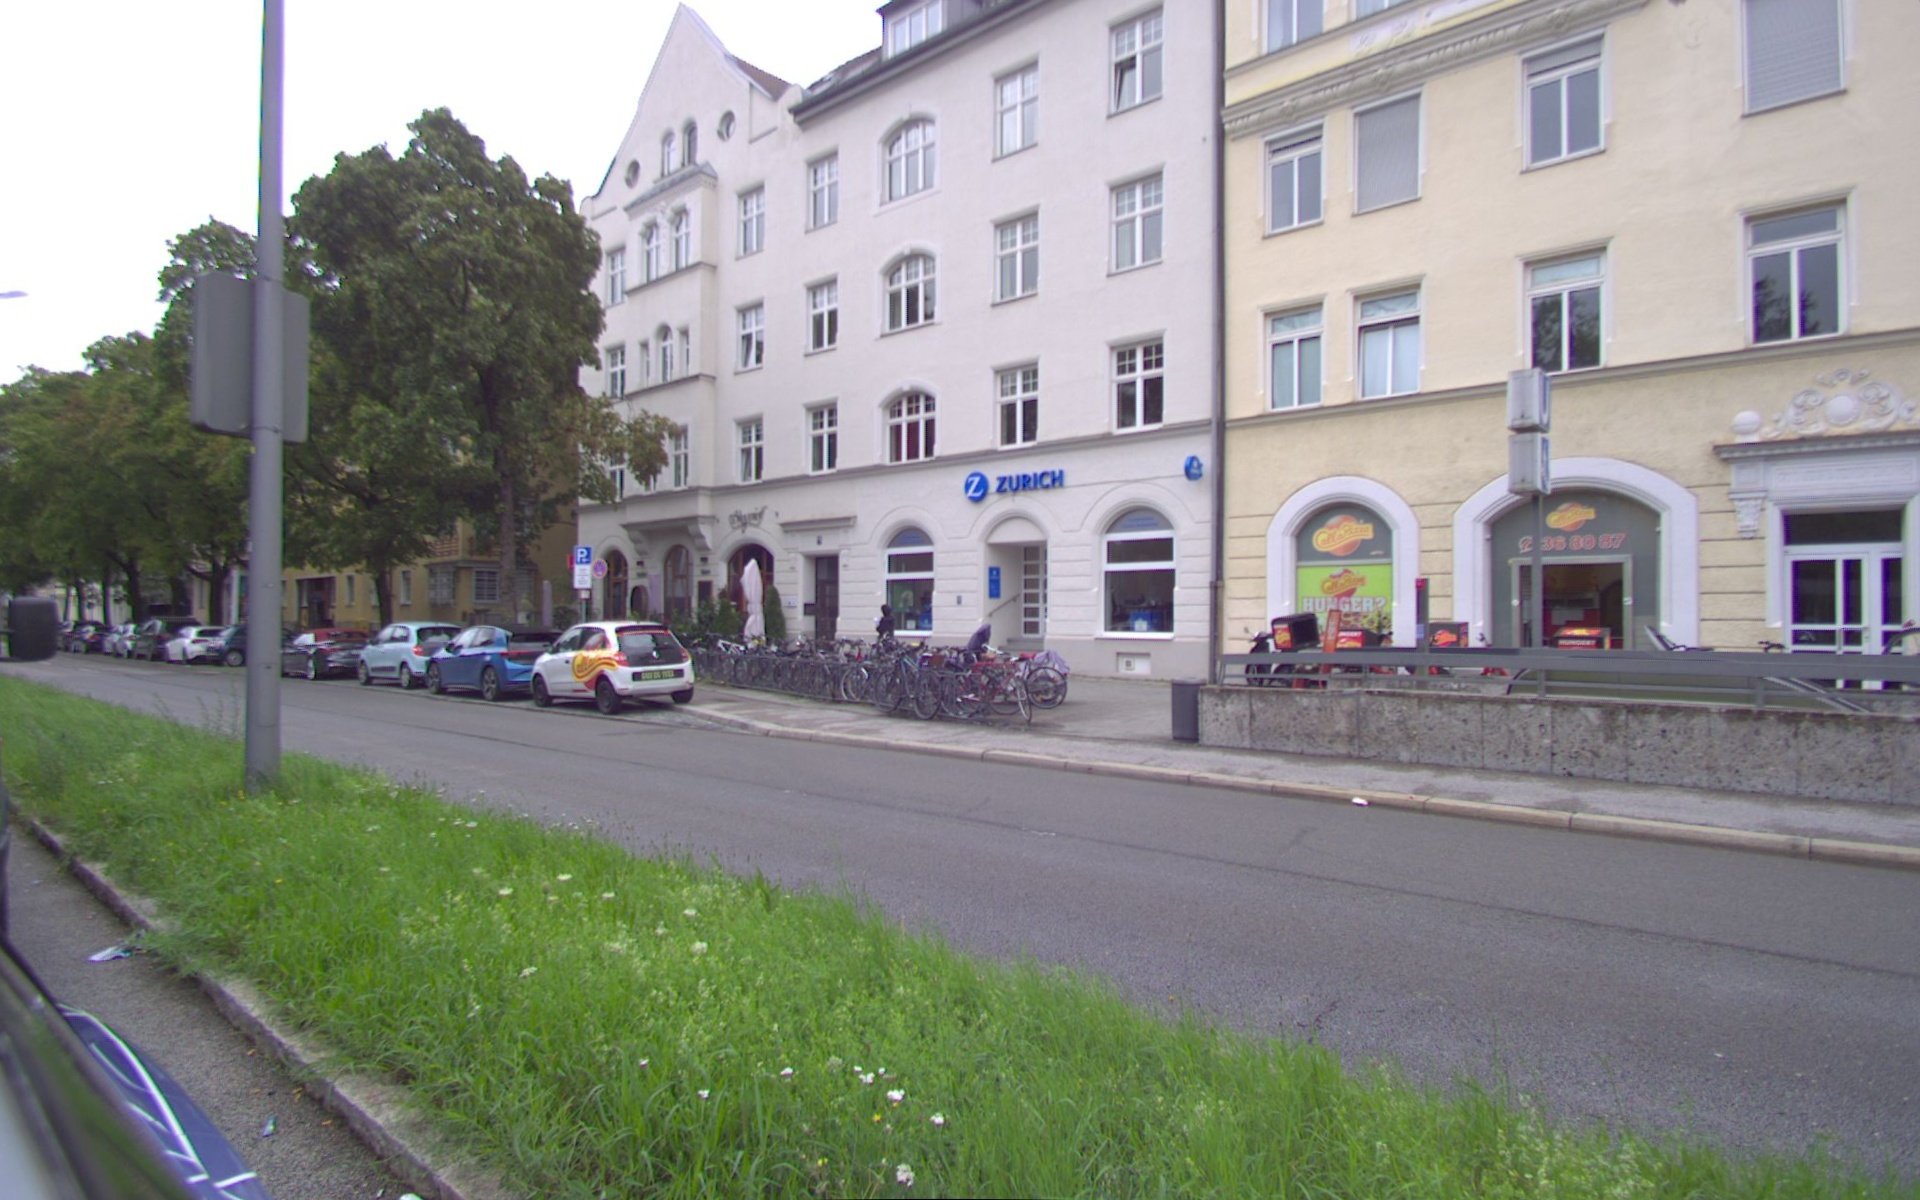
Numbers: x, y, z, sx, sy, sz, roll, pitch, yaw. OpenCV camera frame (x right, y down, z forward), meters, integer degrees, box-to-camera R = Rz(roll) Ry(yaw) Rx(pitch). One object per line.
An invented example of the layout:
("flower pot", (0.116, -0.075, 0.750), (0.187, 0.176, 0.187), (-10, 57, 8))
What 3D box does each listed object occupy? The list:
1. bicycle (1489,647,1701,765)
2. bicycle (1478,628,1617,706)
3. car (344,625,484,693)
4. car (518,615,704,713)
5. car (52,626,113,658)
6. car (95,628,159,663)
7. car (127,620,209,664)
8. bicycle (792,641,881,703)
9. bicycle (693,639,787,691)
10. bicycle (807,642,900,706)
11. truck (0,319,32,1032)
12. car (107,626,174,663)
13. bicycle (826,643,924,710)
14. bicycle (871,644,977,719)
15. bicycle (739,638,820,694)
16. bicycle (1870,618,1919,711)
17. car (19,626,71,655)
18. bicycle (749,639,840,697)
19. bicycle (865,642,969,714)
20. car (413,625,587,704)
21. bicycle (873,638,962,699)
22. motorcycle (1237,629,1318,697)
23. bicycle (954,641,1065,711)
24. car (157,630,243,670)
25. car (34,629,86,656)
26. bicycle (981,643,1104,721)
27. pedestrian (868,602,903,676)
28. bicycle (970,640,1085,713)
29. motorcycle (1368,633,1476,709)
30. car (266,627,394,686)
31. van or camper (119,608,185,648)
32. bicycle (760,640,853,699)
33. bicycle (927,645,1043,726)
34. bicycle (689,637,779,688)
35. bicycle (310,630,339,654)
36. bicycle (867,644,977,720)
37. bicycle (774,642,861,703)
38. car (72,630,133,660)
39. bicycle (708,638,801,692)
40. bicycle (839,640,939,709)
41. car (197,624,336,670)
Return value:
("bicycle", (6.510, 1.057, 10.466), (1.808, 1.124, 0.392), (-1, -2, 33))
("bicycle", (7.877, 0.877, 13.613), (1.544, 0.988, 0.468), (-1, -2, 41))
("car", (-13.523, 1.389, 24.984), (3.958, 1.518, 1.792), (-1, -2, 41))
("car", (-6.451, 1.093, 18.537), (3.790, 1.597, 1.631), (-1, -2, 43))
("car", (-47.277, 2.229, 54.489), (4.768, 1.658, 1.859), (-1, -2, 41))
("car", (-39.448, 2.134, 47.880), (4.055, 1.573, 1.709), (-1, -2, 41))
("car", (-32.863, 1.711, 41.955), (4.765, 1.741, 1.791), (-1, -2, 41))
("bicycle", (-2.286, 1.316, 18.707), (1.667, 1.124, 0.328), (-1, -2, 18))
("bicycle", (-4.835, 1.421, 22.251), (1.966, 1.124, 0.503), (-1, -1, 10))
("bicycle", (-1.901, 1.309, 18.091), (1.667, 1.124, 0.328), (-1, -2, 18))
("truck", (-5.907, 0.292, 4.567), (5.148, 2.508, 1.973), (-1, -2, 41))
("car", (-36.223, 1.926, 44.730), (3.007, 1.569, 1.710), (-1, -2, 39))
("bicycle", (-1.470, 1.305, 17.488), (1.667, 1.124, 0.380), (-1, -2, 18))
("bicycle", (-0.571, 1.266, 15.913), (1.667, 1.124, 0.328), (-1, -2, 18))
("bicycle", (-3.737, 1.358, 20.946), (1.664, 1.124, 0.329), (-1, -1, 14))
("bicycle", (10.651, 0.682, 10.662), (1.544, 0.988, 0.468), (-1, -2, 41))
("car", (-55.819, 2.419, 61.714), (4.436, 1.699, 1.854), (-1, -2, 41))
("bicycle", (-3.334, 1.355, 20.335), (1.859, 1.124, 0.328), (-1, -2, 18))
("bicycle", (-0.702, 1.246, 16.377), (1.667, 1.124, 0.365), (-1, -2, 18))
("car", (-9.929, 1.299, 21.696), (4.289, 1.518, 1.792), (-1, -2, 41))
("bicycle", (-0.814, 1.283, 19.168), (1.667, 1.124, 0.328), (-1, -2, 18))
("motorcycle", (5.861, 1.137, 18.790), (0.600, 1.139, 1.991), (0, -1, -9))
("bicycle", (0.814, 1.240, 16.704), (1.799, 1.124, 0.394), (-1, -2, 18))
("car", (-28.646, 1.832, 38.107), (4.401, 1.413, 1.708), (-1, -2, 41))
("car", (-51.894, 2.425, 58.325), (4.490, 1.465, 1.674), (-1, -2, 41))
("bicycle", (1.227, 1.211, 15.149), (1.799, 1.124, 0.394), (-1, -2, 18))
("pedestrian", (-1.701, 0.888, 23.078), (0.416, 1.644, 0.784), (1, -2, -43))
("bicycle", (1.071, 1.206, 16.150), (1.799, 1.124, 0.394), (-1, -2, 18))
("motorcycle", (7.591, 1.131, 16.742), (0.600, 1.130, 1.991), (0, -1, -9))
("car", (-17.841, 1.529, 28.573), (4.643, 1.518, 1.792), (-1, -2, 41))
("van or camper", (-55.023, 1.920, 68.847), (6.847, 2.599, 2.321), (-1, -2, 41))
("bicycle", (-3.013, 1.354, 19.817), (1.859, 1.124, 0.328), (-1, -2, 18))
("bicycle", (0.355, 1.222, 14.688), (1.667, 1.124, 0.328), (-1, -2, 18))
("bicycle", (-5.091, 1.408, 22.800), (1.944, 1.124, 0.457), (-1, -1, 10))
("bicycle", (-33.215, 2.188, 52.877), (1.929, 1.231, 0.762), (-1, -2, 41))
("bicycle", (-0.586, 1.239, 15.505), (1.667, 1.124, 0.366), (-1, -2, 18))
("bicycle", (-2.724, 1.363, 19.286), (1.667, 1.124, 0.328), (-1, -2, 18))
("car", (-42.959, 2.217, 50.652), (4.361, 1.416, 1.709), (-1, -2, 41))
("bicycle", (-4.351, 1.371, 21.470), (1.860, 1.124, 0.548), (-1, -1, 10))
("bicycle", (-1.200, 1.243, 16.990), (1.667, 1.124, 0.328), (-1, -2, 18))
("car", (-25.158, 1.679, 36.819), (1.730, 1.475, 3.851), (-1, -1, 39))
